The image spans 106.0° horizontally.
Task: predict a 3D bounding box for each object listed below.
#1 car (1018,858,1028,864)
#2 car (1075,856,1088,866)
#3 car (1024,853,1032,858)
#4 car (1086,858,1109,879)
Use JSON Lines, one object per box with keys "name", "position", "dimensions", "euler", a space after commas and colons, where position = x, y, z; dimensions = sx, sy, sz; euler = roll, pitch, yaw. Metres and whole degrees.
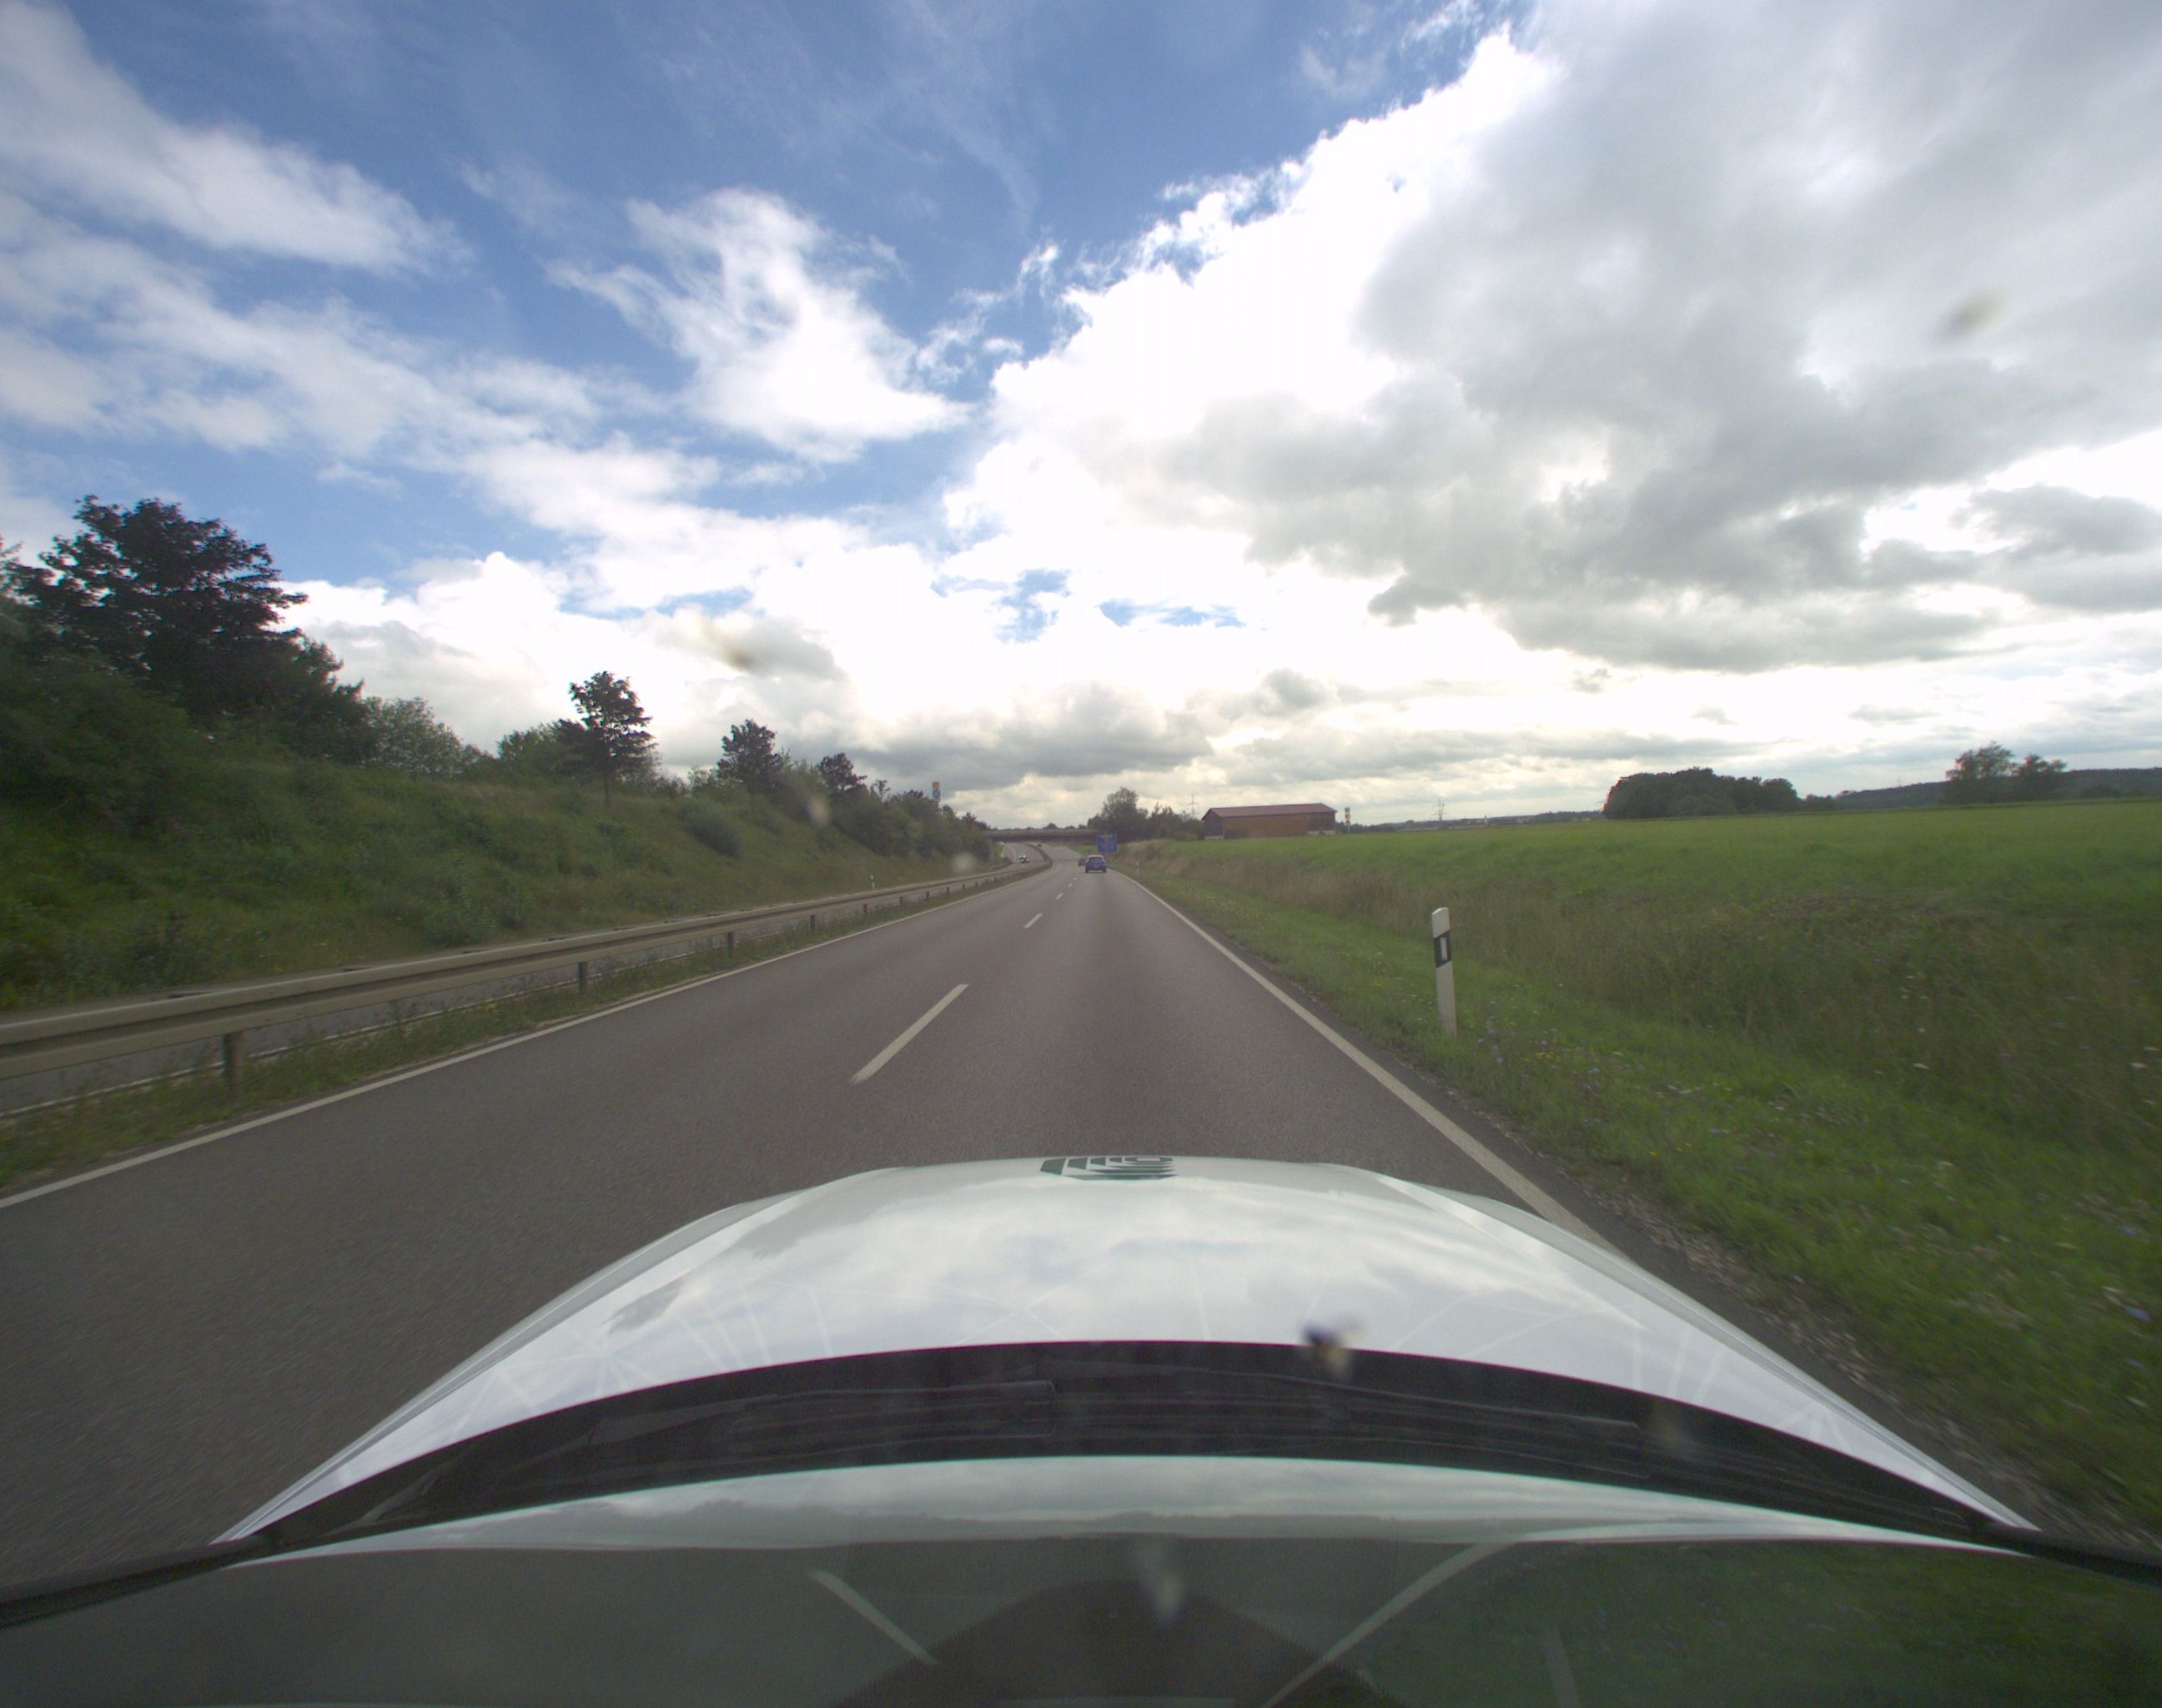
{"name": "car", "position": [-13.645, 1.728, 191.773], "dimensions": [1.987, 1.304, 4.821], "euler": [-3, 0, 0]}
{"name": "car", "position": [0.058, 1.159, 133.699], "dimensions": [1.912, 1.453, 4.360], "euler": [-3, 1, -2]}
{"name": "car", "position": [-14.819, 0.407, 227.153], "dimensions": [1.988, 1.453, 3.999], "euler": [-3, 1, -1]}
{"name": "car", "position": [1.503, 1.327, 75.751], "dimensions": [2.026, 1.660, 4.544], "euler": [-1, 1, 1]}
